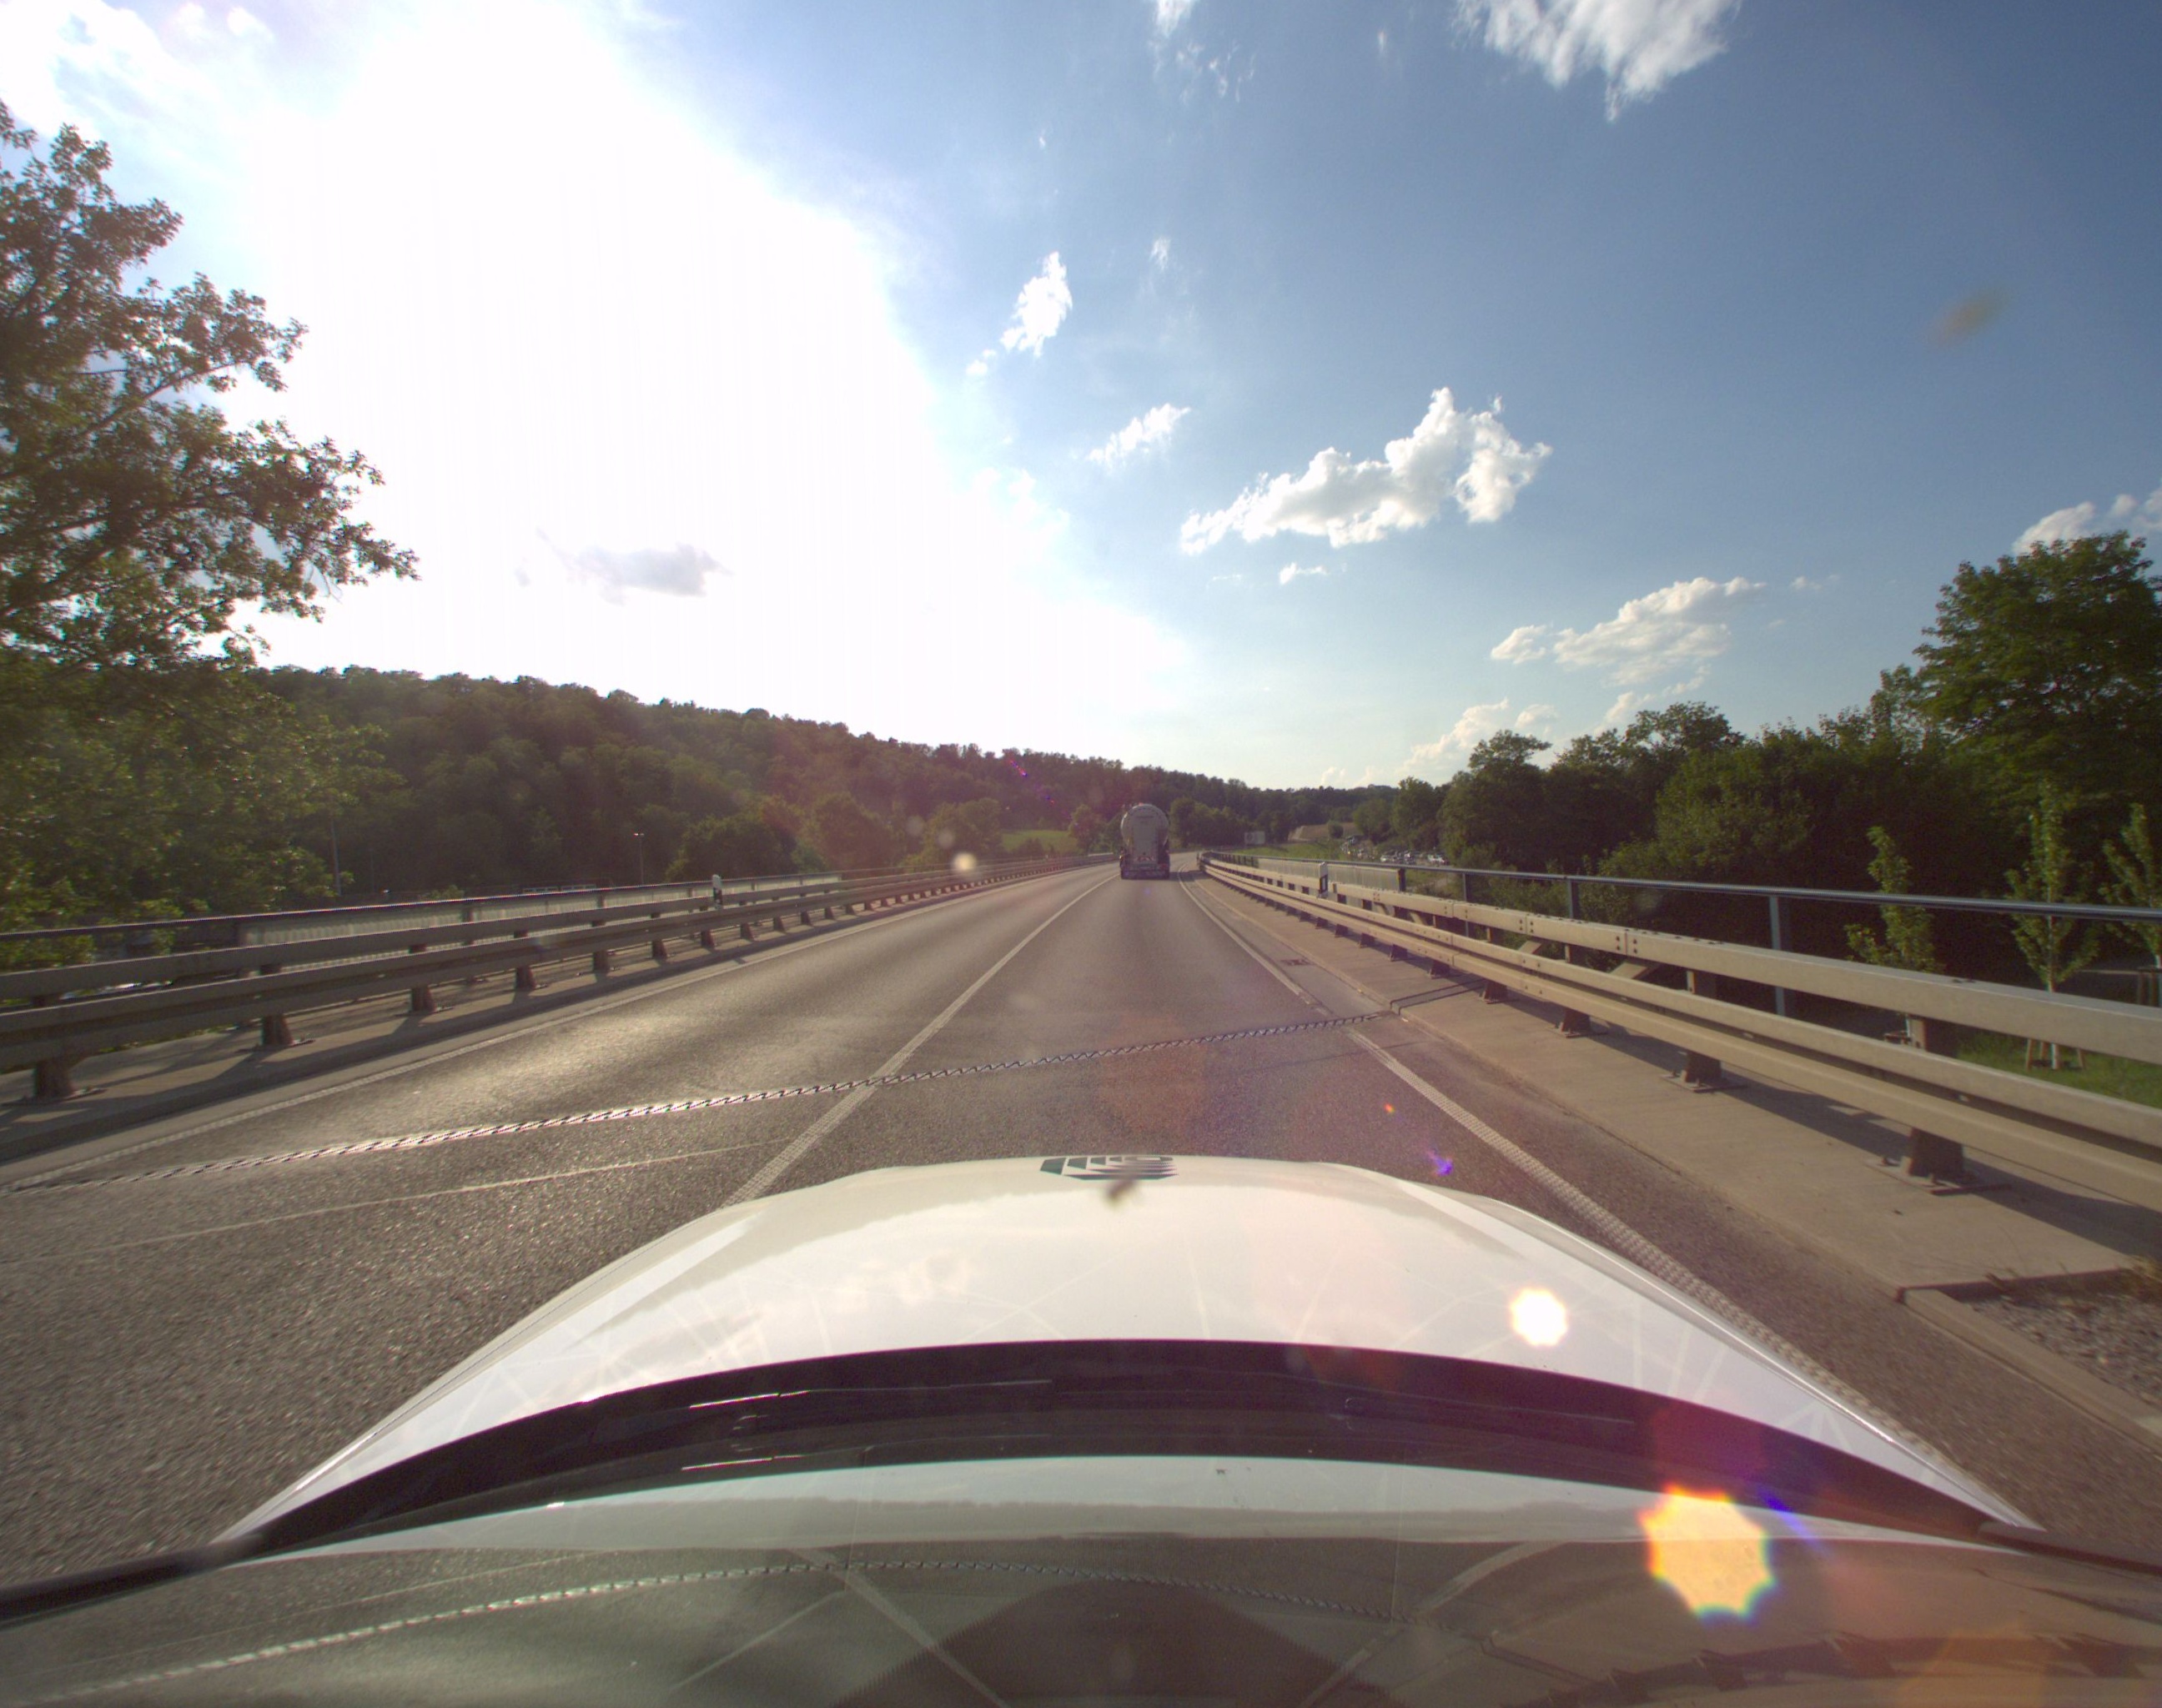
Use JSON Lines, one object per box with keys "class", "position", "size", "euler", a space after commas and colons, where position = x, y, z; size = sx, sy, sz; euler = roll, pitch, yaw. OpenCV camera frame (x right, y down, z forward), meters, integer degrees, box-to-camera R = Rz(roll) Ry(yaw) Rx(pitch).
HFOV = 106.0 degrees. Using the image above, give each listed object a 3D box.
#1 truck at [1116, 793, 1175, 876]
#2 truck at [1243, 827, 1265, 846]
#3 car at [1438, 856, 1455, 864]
{"class": "truck", "position": [3.711, -1.023, 47.357], "size": [2.879, 4.142, 13.188], "euler": [-1, 0, 4]}
{"class": "truck", "position": [42.338, -4.277, 199.294], "size": [3.156, 4.227, 13.242], "euler": [-2, 2, 21]}
{"class": "car", "position": [69.019, 1.140, 153.935], "size": [1.646, 1.496, 4.229], "euler": [-2, 0, 5]}
